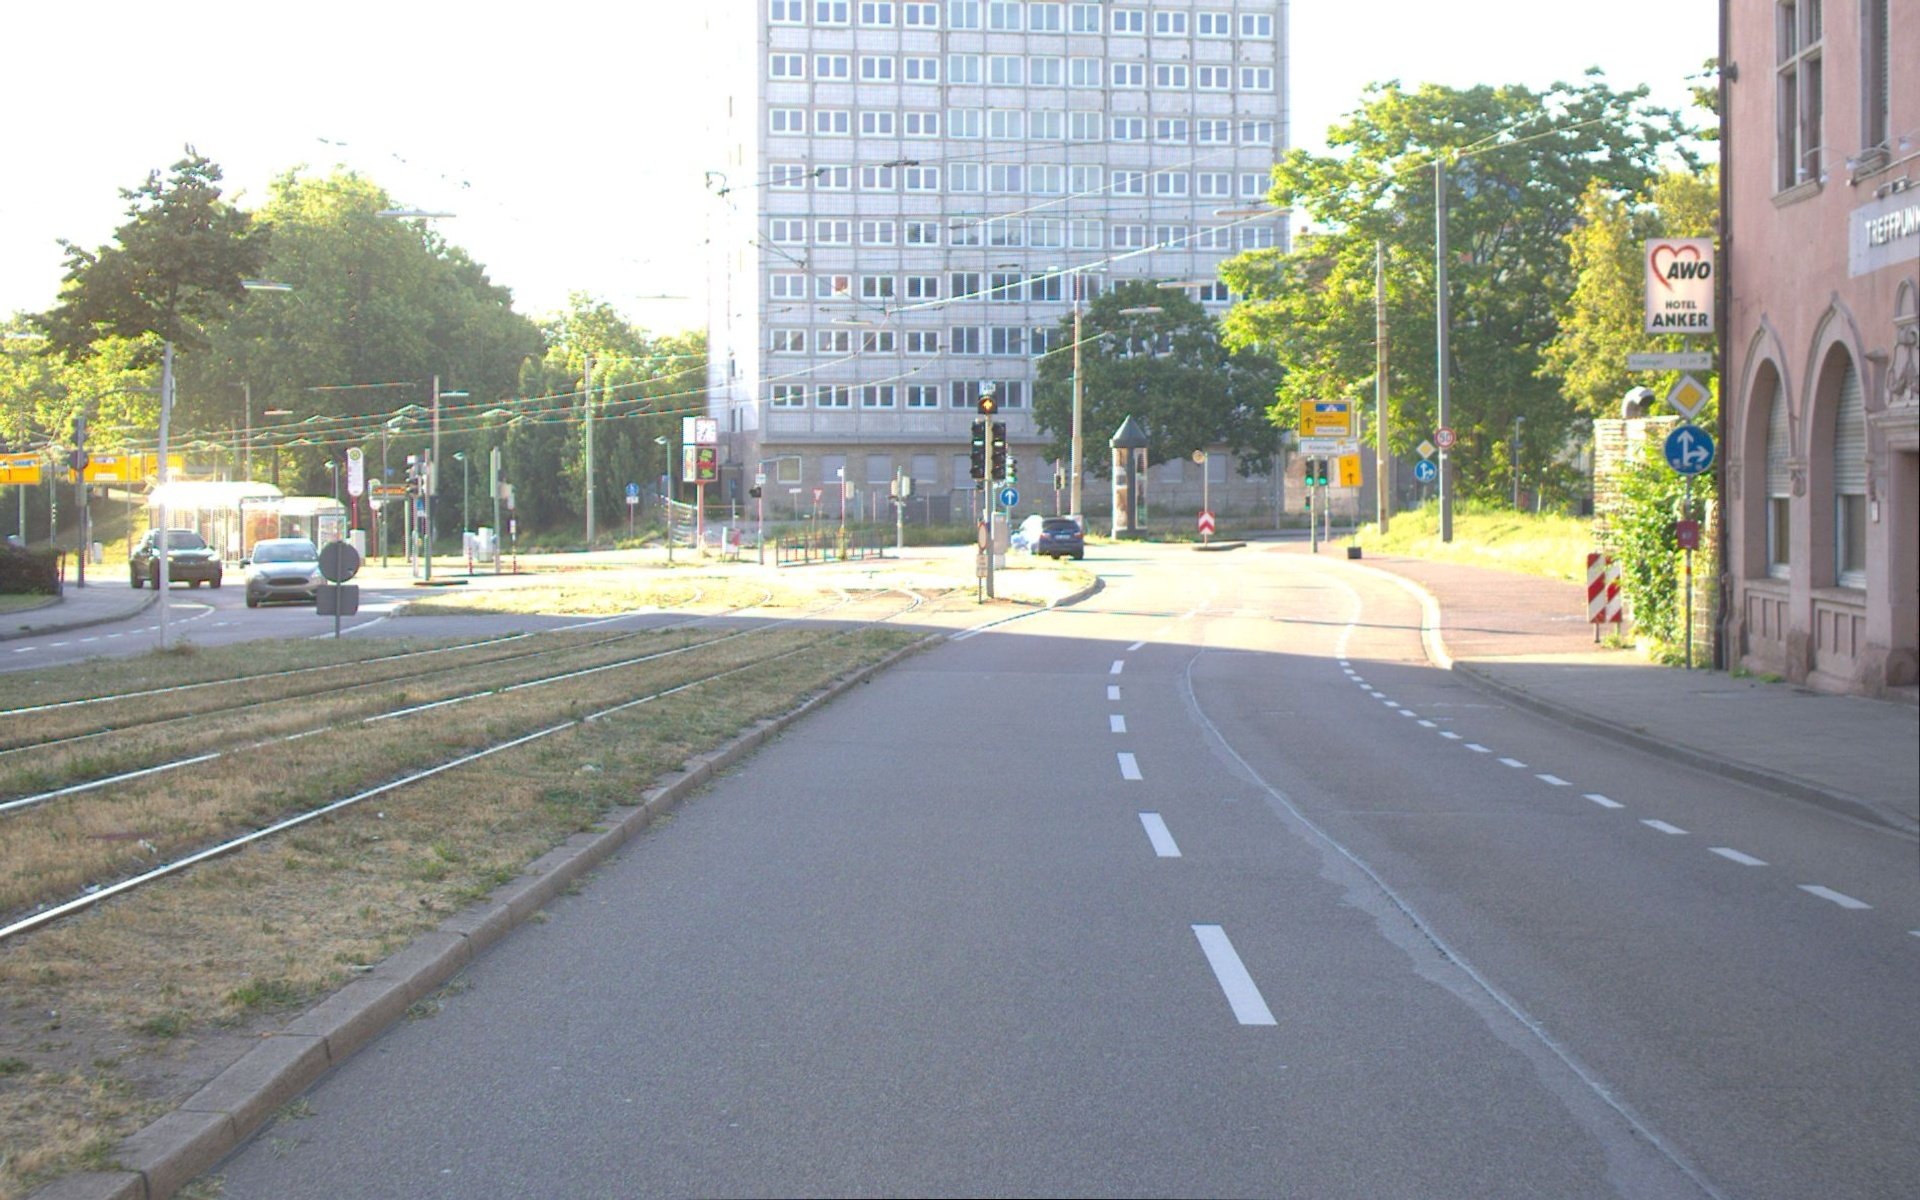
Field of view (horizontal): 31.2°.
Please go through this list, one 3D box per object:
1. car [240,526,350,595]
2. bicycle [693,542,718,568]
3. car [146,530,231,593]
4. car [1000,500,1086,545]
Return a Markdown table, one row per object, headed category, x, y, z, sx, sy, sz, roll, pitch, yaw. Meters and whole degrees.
| category | x | y | z | sx | sy | sz | roll | pitch | yaw |
| --- | --- | --- | --- | --- | --- | --- | --- | --- | --- |
| car | -14.958 | -0.908 | 77.481 | 1.697 | 1.455 | 4.316 | -2 | 1 | -1 |
| bicycle | -9.668 | -1.706 | 130.711 | 0.553 | 0.914 | 1.742 | -2 | 2 | 9 |
| car | -21.909 | -1.118 | 97.541 | 1.917 | 1.656 | 4.710 | -2 | 2 | -18 |
| car | 2.718 | -2.573 | 113.335 | 1.772 | 1.417 | 3.857 | -1 | 2 | -15 |
